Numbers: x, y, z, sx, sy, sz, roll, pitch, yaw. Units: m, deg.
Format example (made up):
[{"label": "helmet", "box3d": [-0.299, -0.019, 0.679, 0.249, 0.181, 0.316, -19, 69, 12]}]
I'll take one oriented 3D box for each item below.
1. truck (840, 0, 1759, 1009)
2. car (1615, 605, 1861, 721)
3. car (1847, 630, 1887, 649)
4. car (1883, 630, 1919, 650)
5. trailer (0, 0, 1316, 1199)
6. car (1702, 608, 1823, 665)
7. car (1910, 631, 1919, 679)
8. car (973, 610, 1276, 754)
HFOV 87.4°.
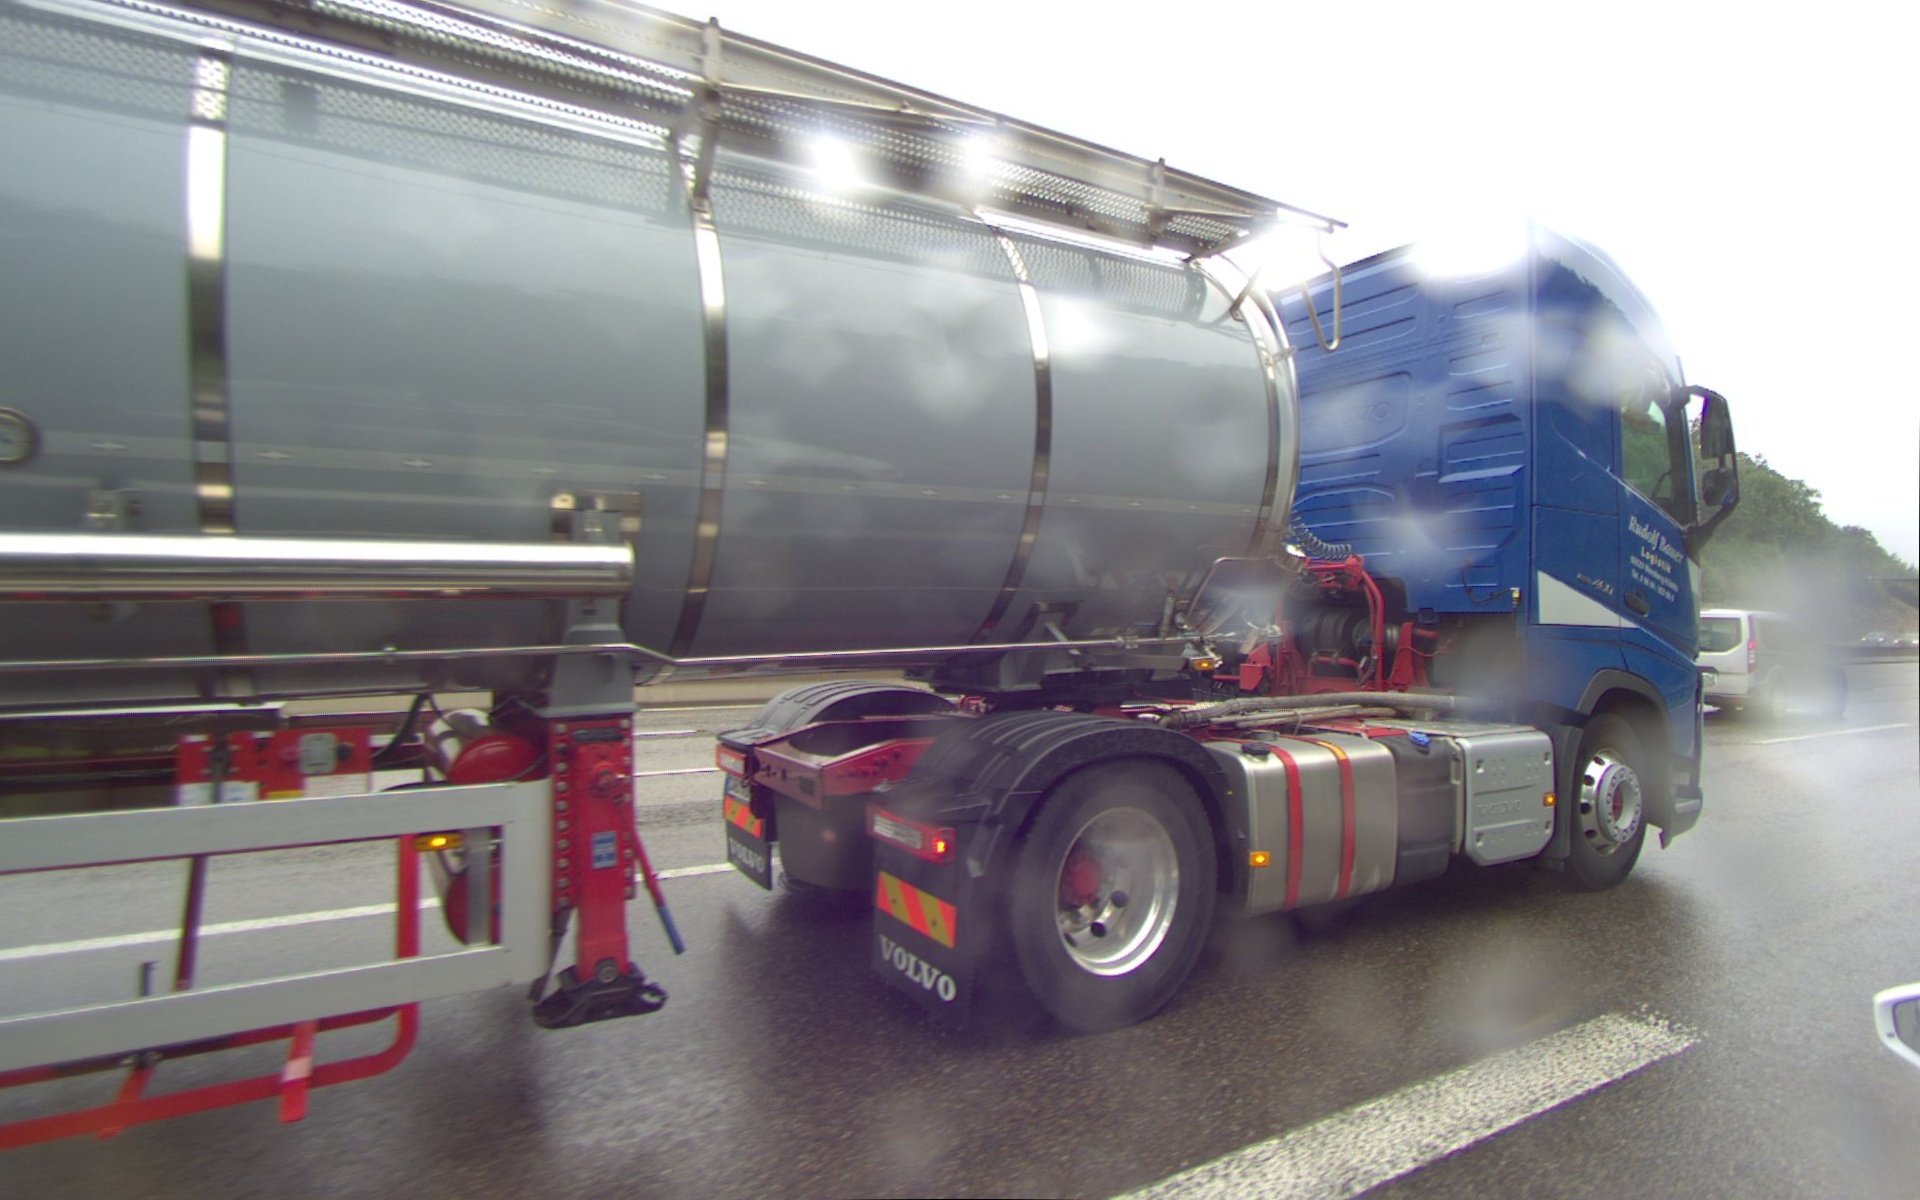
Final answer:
[{"label": "truck", "box3d": [2.158, -0.348, 6.194, 5.001, 3.743, 2.861, 1, -1, -32]}, {"label": "car", "box3d": [13.443, 1.025, 17.305, 4.514, 1.774, 1.836, 1, -2, -31]}, {"label": "car", "box3d": [90.943, 3.941, 100.706, 3.956, 1.808, 1.983, 2, -1, -32]}, {"label": "car", "box3d": [86.775, 3.680, 92.287, 3.957, 1.731, 1.982, 2, -1, -33]}, {"label": "trailer", "box3d": [-3.546, -0.277, 2.576, 9.966, 3.332, 2.858, 1, -1, -32]}, {"label": "car", "box3d": [27.816, 1.259, 34.799, 4.536, 1.857, 1.917, 2, -1, -32]}, {"label": "car", "box3d": [38.297, 2.228, 38.372, 3.954, 1.770, 1.777, 3, 2, -31]}, {"label": "car", "box3d": [2.448, 1.107, 14.757, 4.107, 1.822, 1.983, 2, -1, -32]}]
